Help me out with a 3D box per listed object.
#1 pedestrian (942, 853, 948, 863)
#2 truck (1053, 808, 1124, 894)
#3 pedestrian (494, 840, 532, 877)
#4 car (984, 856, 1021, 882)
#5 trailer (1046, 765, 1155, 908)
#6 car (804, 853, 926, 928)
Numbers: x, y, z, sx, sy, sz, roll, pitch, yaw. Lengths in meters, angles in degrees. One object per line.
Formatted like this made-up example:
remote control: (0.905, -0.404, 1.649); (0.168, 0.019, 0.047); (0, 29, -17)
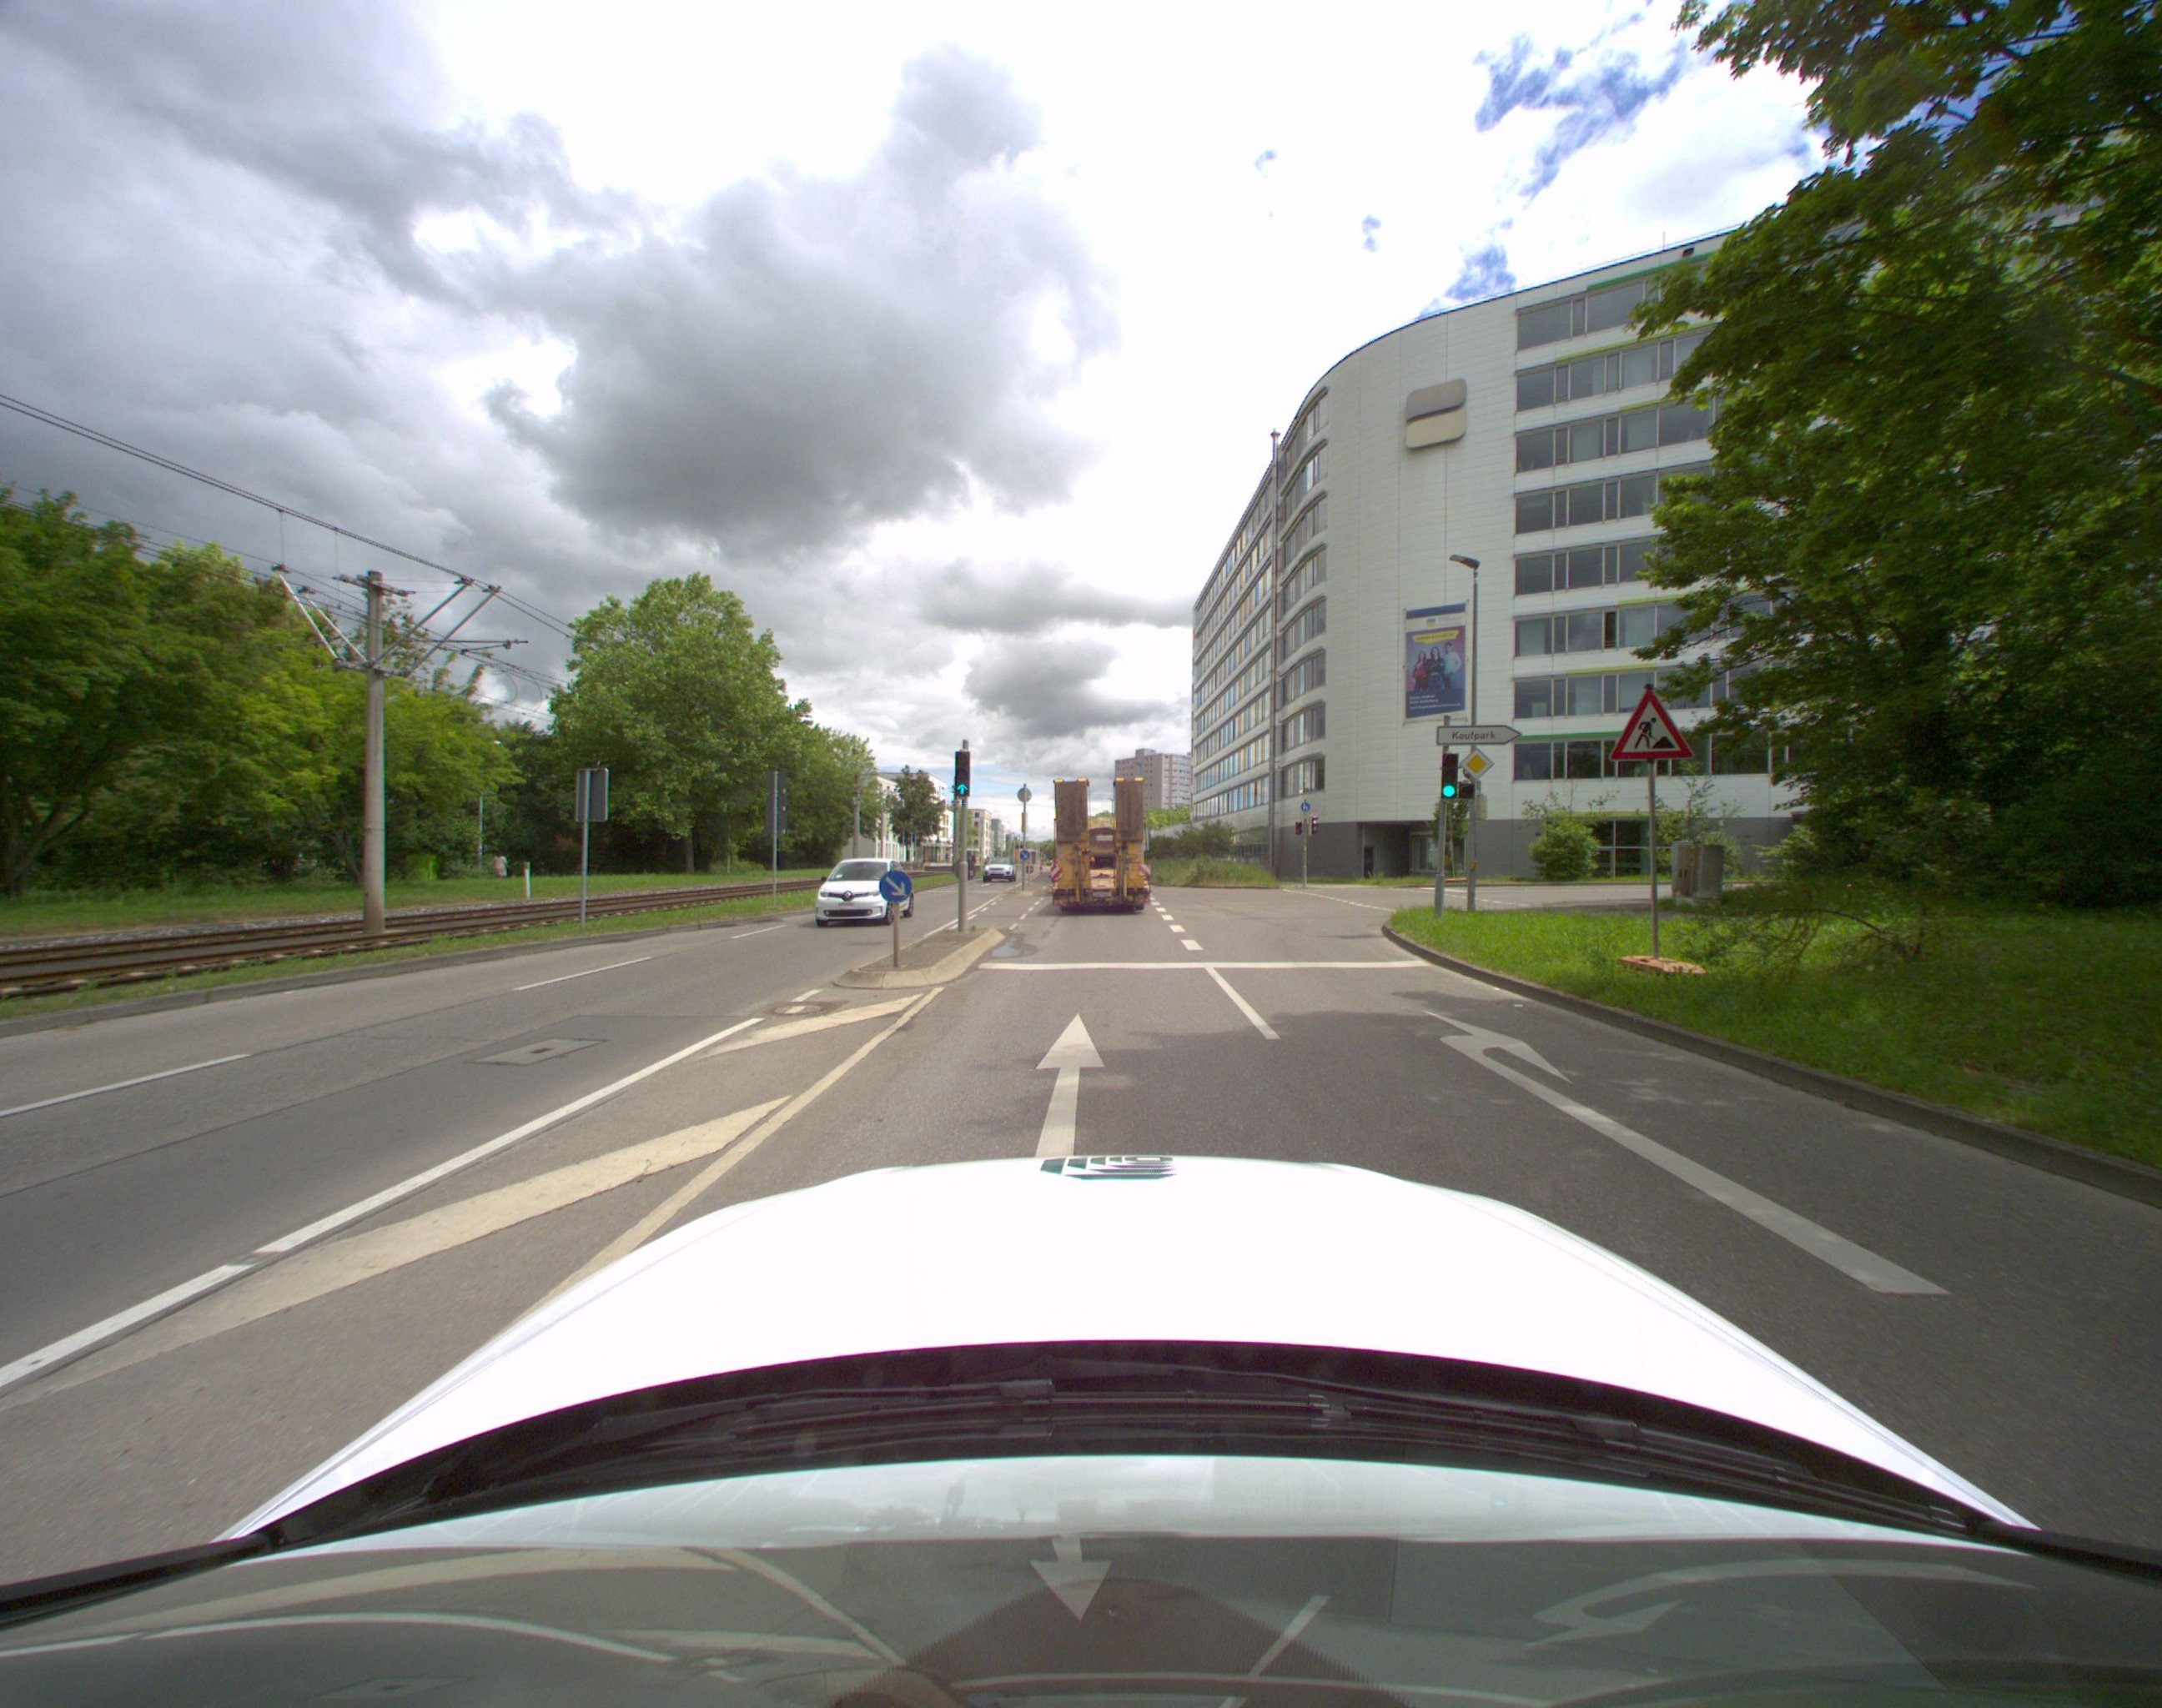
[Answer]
pedestrian: (-20.495, 0.588, 123.062); (0.738, 1.531, 0.547); (1, -1, 2)
truck: (0.278, -0.052, 35.892); (2.745, 3.313, 8.348); (1, -1, 0)
pedestrian: (-30.064, 0.250, 43.131); (1.031, 1.933, 1.363); (0, 0, 1)
car: (-5.080, 0.984, 53.168); (1.853, 1.610, 4.609); (1, -1, 2)
trailer: (0.404, -0.356, 26.095); (2.721, 3.559, 11.247); (1, -1, -1)
car: (-5.132, 0.827, 19.942); (1.722, 1.612, 4.265); (1, -1, 2)
